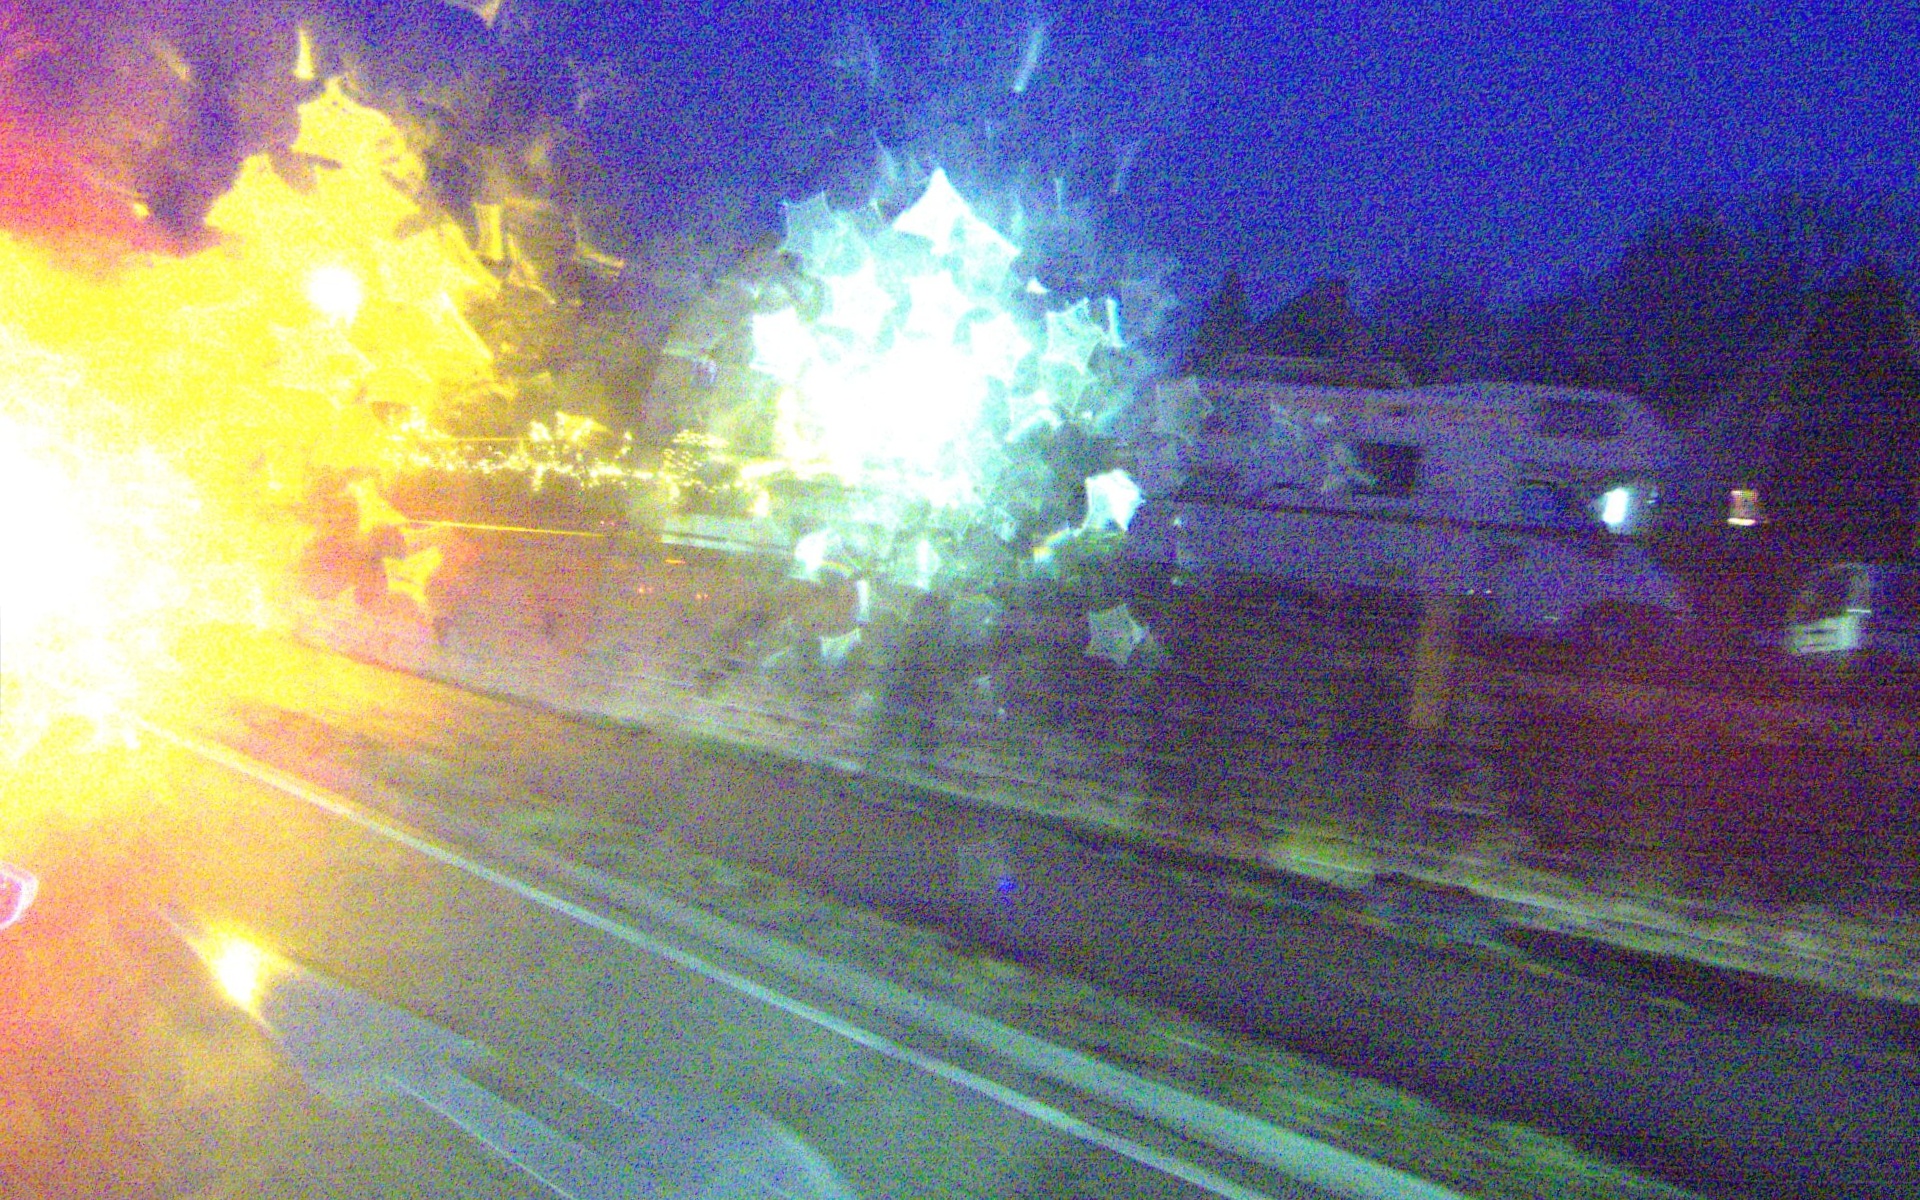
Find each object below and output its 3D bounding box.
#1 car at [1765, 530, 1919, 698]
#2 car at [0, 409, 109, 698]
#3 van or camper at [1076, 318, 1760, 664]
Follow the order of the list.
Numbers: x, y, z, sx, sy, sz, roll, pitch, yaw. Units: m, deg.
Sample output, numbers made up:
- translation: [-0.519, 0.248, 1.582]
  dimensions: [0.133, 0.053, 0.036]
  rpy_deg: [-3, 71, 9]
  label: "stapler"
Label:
- translation: [11.774, 0.367, 11.097]
  dimensions: [4.056, 1.637, 1.643]
  rpy_deg: [8, -1, 15]
  label: "car"
- translation: [-8.652, -0.577, 7.784]
  dimensions: [4.150, 1.995, 1.945]
  rpy_deg: [7, -1, 34]
  label: "car"
- translation: [4.749, -1.178, 11.611]
  dimensions: [6.237, 2.943, 2.590]
  rpy_deg: [7, 0, 13]
  label: "van or camper"
